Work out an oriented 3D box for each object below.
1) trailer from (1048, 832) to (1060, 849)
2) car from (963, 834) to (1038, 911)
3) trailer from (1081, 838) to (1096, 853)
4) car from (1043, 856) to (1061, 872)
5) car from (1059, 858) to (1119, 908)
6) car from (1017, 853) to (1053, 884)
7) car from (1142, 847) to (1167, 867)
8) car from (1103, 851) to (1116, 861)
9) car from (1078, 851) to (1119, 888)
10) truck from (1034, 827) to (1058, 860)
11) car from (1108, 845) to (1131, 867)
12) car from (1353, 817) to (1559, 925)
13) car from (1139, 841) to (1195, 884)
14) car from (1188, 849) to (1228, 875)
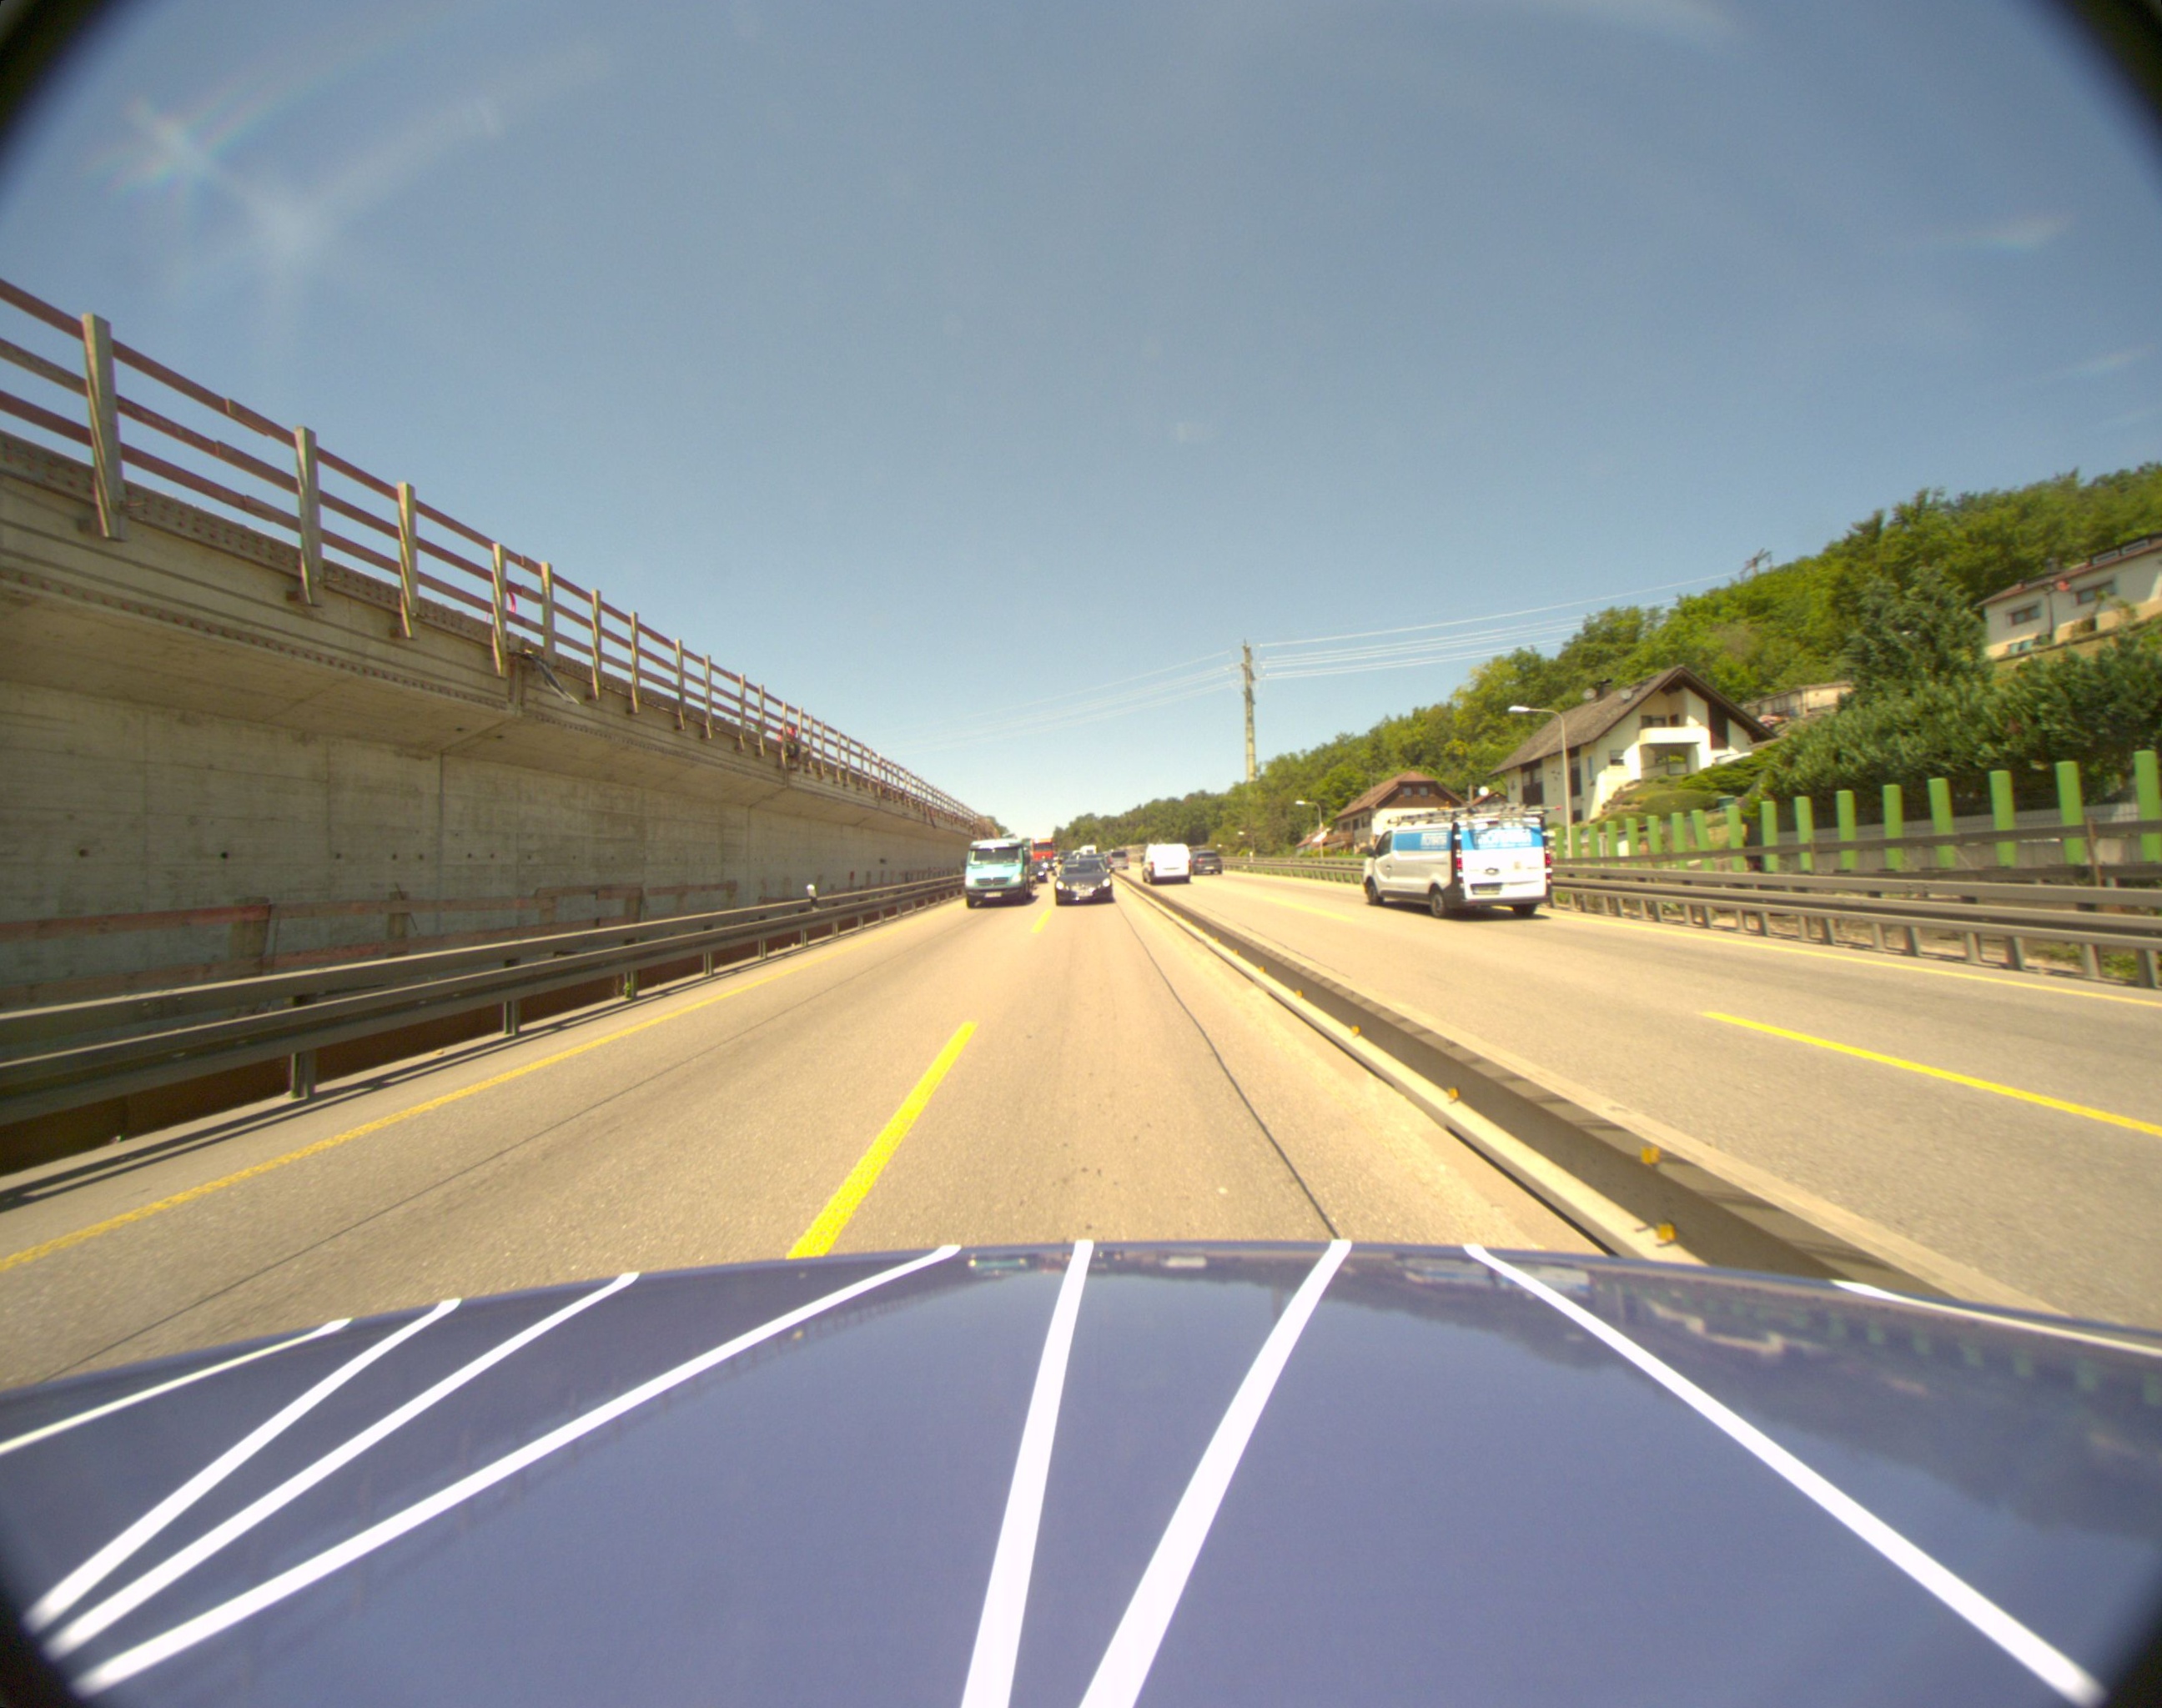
[{"bbox_3d":[-7.773,-3.827,216.112,3.130,4.687,12.074,-4,1,-2],"label":"trailer"},{"bbox_3d":[-2.777,0.577,27.977,1.968,2.367,7.209,-3,0,-1],"label":"car"},{"bbox_3d":[1.460,-1.581,144.025,2.606,2.573,6.240,-3,1,-1],"label":"trailer"},{"bbox_3d":[-3.068,1.065,81.684,1.674,1.499,3.648,-4,1,1],"label":"car"},{"bbox_3d":[0.193,0.892,25.193,1.793,1.440,4.296,-2,0,-2],"label":"car"},{"bbox_3d":[-2.814,0.852,47.018,1.859,1.650,3.999,-4,1,0],"label":"car"},{"bbox_3d":[7.194,0.261,74.646,1.998,1.816,4.508,-2,0,0],"label":"car"},{"bbox_3d":[4.470,0.361,119.191,1.706,1.471,3.974,-3,0,-1],"label":"car"},{"bbox_3d":[0.864,0.763,39.477,1.859,1.650,3.999,-4,1,-1],"label":"car"},{"bbox_3d":[-4.592,-1.406,100.797,2.651,3.978,11.193,-4,1,-1],"label":"truck"},{"bbox_3d":[3.616,0.135,72.623,1.998,2.002,4.968,-1,1,1],"label":"car"},{"bbox_3d":[7.850,0.308,16.615,1.830,1.914,5.242,-2,0,-1],"label":"car"},{"bbox_3d":[4.092,0.344,36.954,2.162,1.895,5.325,-2,1,1],"label":"car"},{"bbox_3d":[7.665,0.435,46.208,1.753,1.434,4.052,-2,1,1],"label":"car"}]
